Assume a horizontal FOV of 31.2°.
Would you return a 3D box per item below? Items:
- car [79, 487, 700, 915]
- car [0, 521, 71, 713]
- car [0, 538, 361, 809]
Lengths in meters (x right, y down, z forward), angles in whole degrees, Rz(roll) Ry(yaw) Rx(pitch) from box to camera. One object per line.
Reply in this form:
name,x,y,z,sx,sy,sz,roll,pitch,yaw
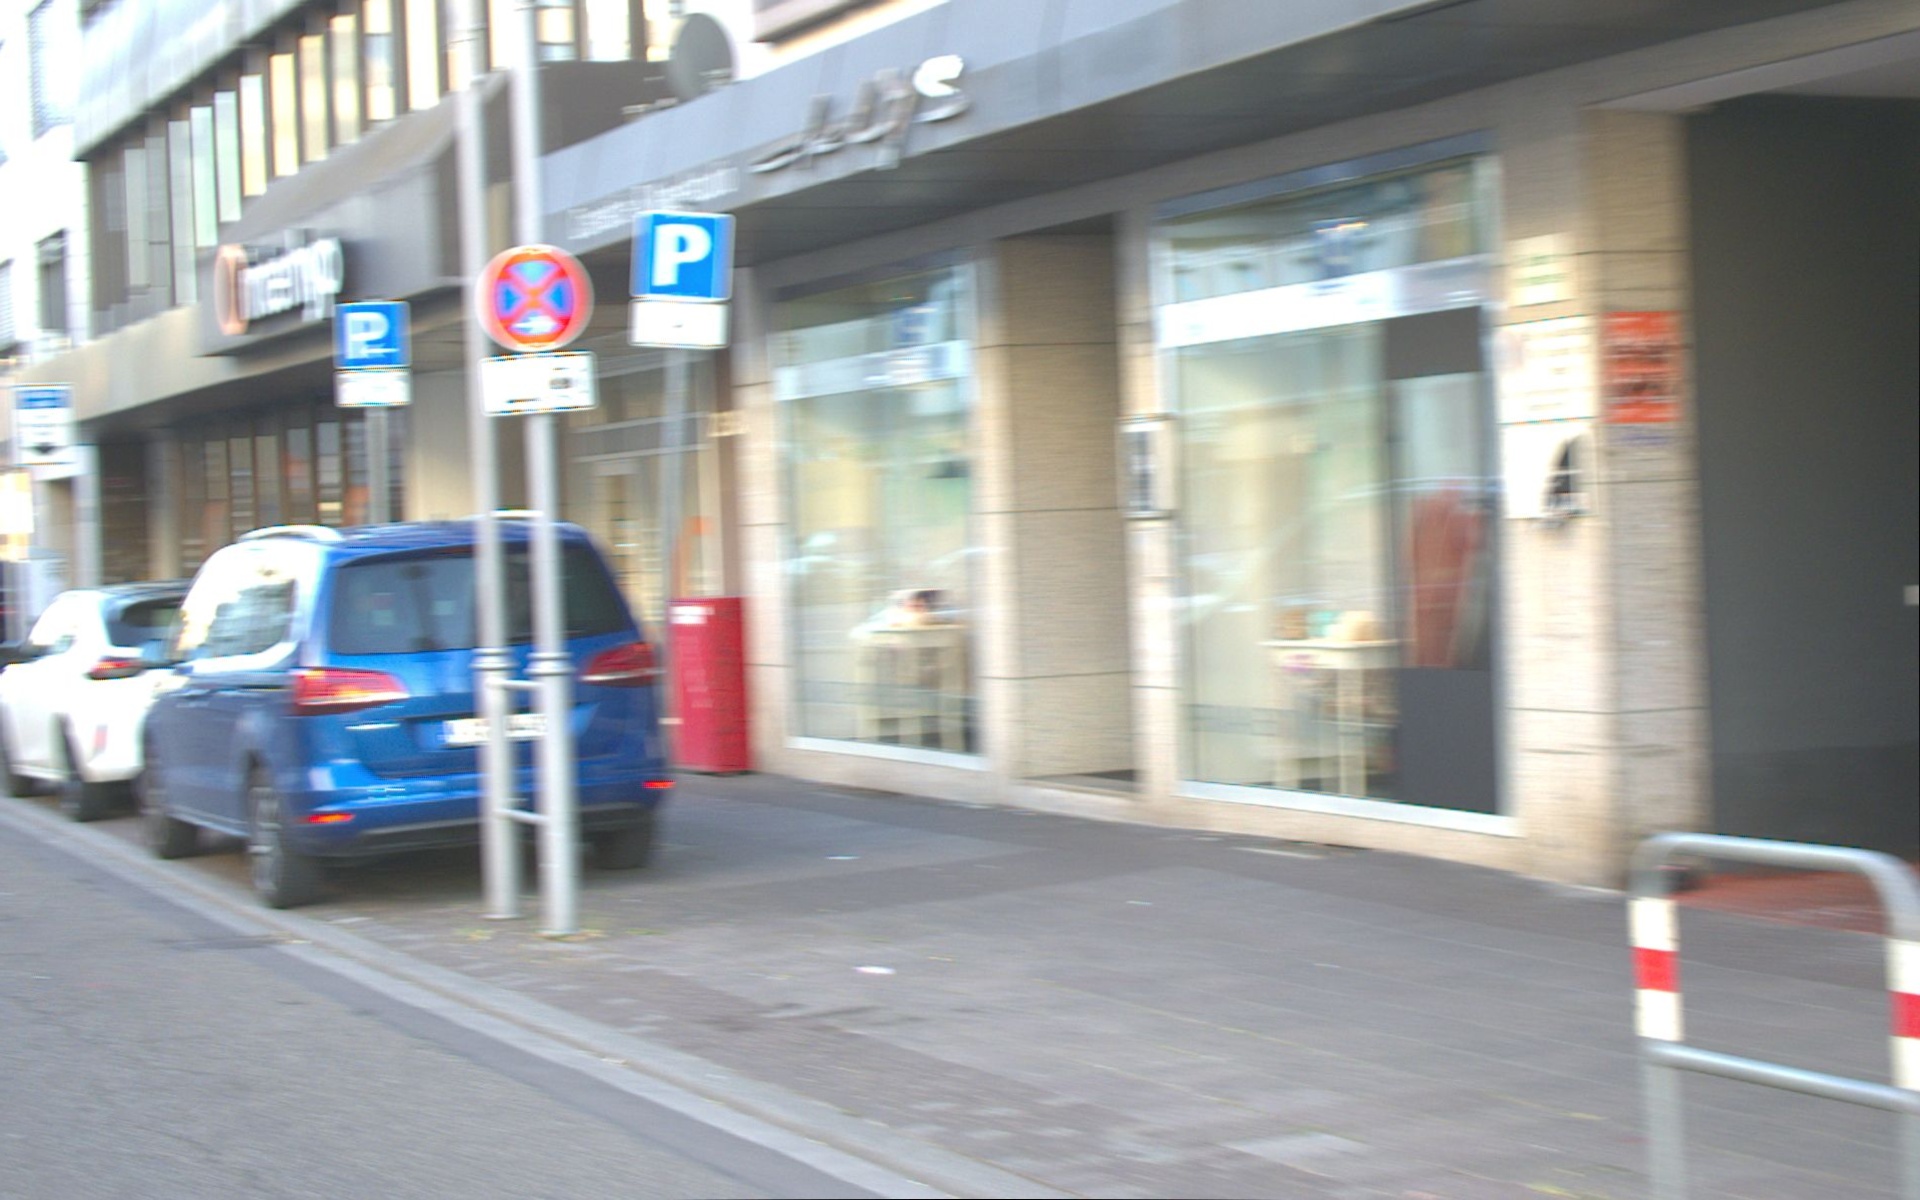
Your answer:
car,-3.017,0.410,17.257,1.915,1.711,4.564,-5,2,-23
car,-10.186,0.199,33.795,1.984,1.728,4.672,-5,2,-23
car,-5.346,0.422,22.593,1.766,1.480,3.873,-5,2,-24
